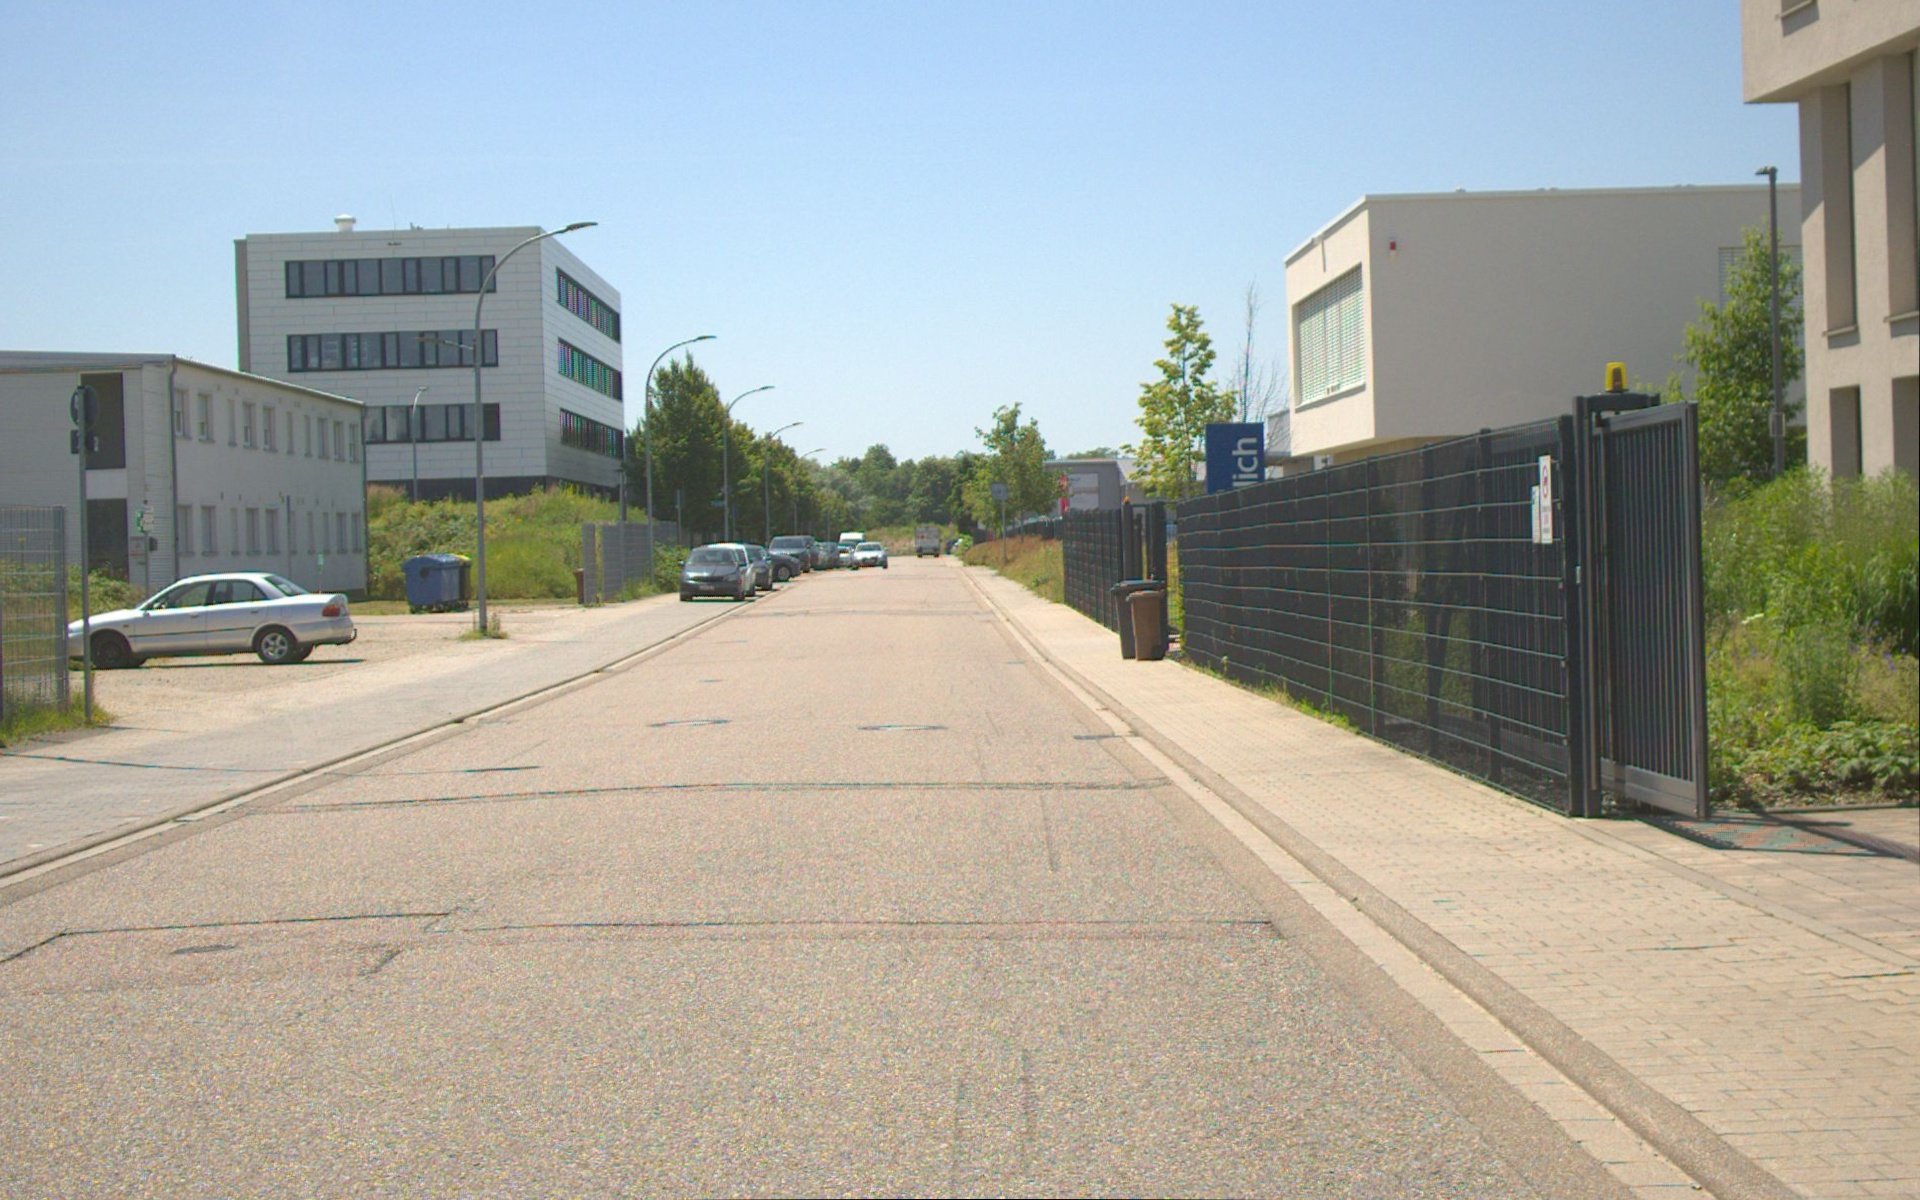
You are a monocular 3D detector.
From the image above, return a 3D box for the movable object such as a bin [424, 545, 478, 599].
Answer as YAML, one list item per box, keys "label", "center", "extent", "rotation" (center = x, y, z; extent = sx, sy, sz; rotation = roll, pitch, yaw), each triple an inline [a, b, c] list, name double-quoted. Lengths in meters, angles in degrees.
- label: "movable object such as a bin"
  center: [-13.536, -0.752, 91.476]
  extent: [1.285, 1.407, 1.807]
  rotation: [-1, 1, -4]

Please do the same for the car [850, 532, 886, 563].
- label: "car"
  center: [-4.894, -2.780, 182.634]
  extent: [1.804, 1.551, 4.000]
  rotation: [-2, 1, 0]

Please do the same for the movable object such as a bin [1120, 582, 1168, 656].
- label: "movable object such as a bin"
  center: [2.488, 0.256, 46.362]
  extent: [0.552, 0.925, 0.522]
  rotation: [-6, 2, 4]

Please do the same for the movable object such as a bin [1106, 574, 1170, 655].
- label: "movable object such as a bin"
  center: [2.451, 0.192, 47.294]
  extent: [0.779, 1.016, 0.665]
  rotation: [-6, 2, 4]

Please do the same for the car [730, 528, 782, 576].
- label: "car"
  center: [-6.536, -1.537, 110.323]
  extent: [1.466, 1.484, 3.207]
  rotation: [-1, 1, 0]

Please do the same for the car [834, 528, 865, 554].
- label: "car"
  center: [-6.940, -3.719, 216.082]
  extent: [1.804, 1.551, 4.000]
  rotation: [-2, 1, 0]

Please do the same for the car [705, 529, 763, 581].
- label: "car"
  center: [-6.628, -1.333, 101.043]
  extent: [1.466, 1.484, 3.207]
  rotation: [-1, 1, 0]

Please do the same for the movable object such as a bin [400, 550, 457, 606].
- label: "movable object such as a bin"
  center: [-13.579, -0.571, 87.887]
  extent: [1.285, 1.407, 1.807]
  rotation: [-1, 1, -4]

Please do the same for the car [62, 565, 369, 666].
- label: "car"
  center: [-11.420, 0.222, 52.925]
  extent: [4.277, 1.360, 1.898]
  rotation: [-2, 1, 0]

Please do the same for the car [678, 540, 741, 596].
- label: "car"
  center: [-6.842, -0.894, 94.161]
  extent: [1.466, 1.484, 3.207]
  rotation: [-1, 1, 0]

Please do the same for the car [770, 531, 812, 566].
- label: "car"
  center: [-7.335, -2.234, 149.439]
  extent: [1.644, 1.484, 3.207]
  rotation: [-1, 1, 0]
